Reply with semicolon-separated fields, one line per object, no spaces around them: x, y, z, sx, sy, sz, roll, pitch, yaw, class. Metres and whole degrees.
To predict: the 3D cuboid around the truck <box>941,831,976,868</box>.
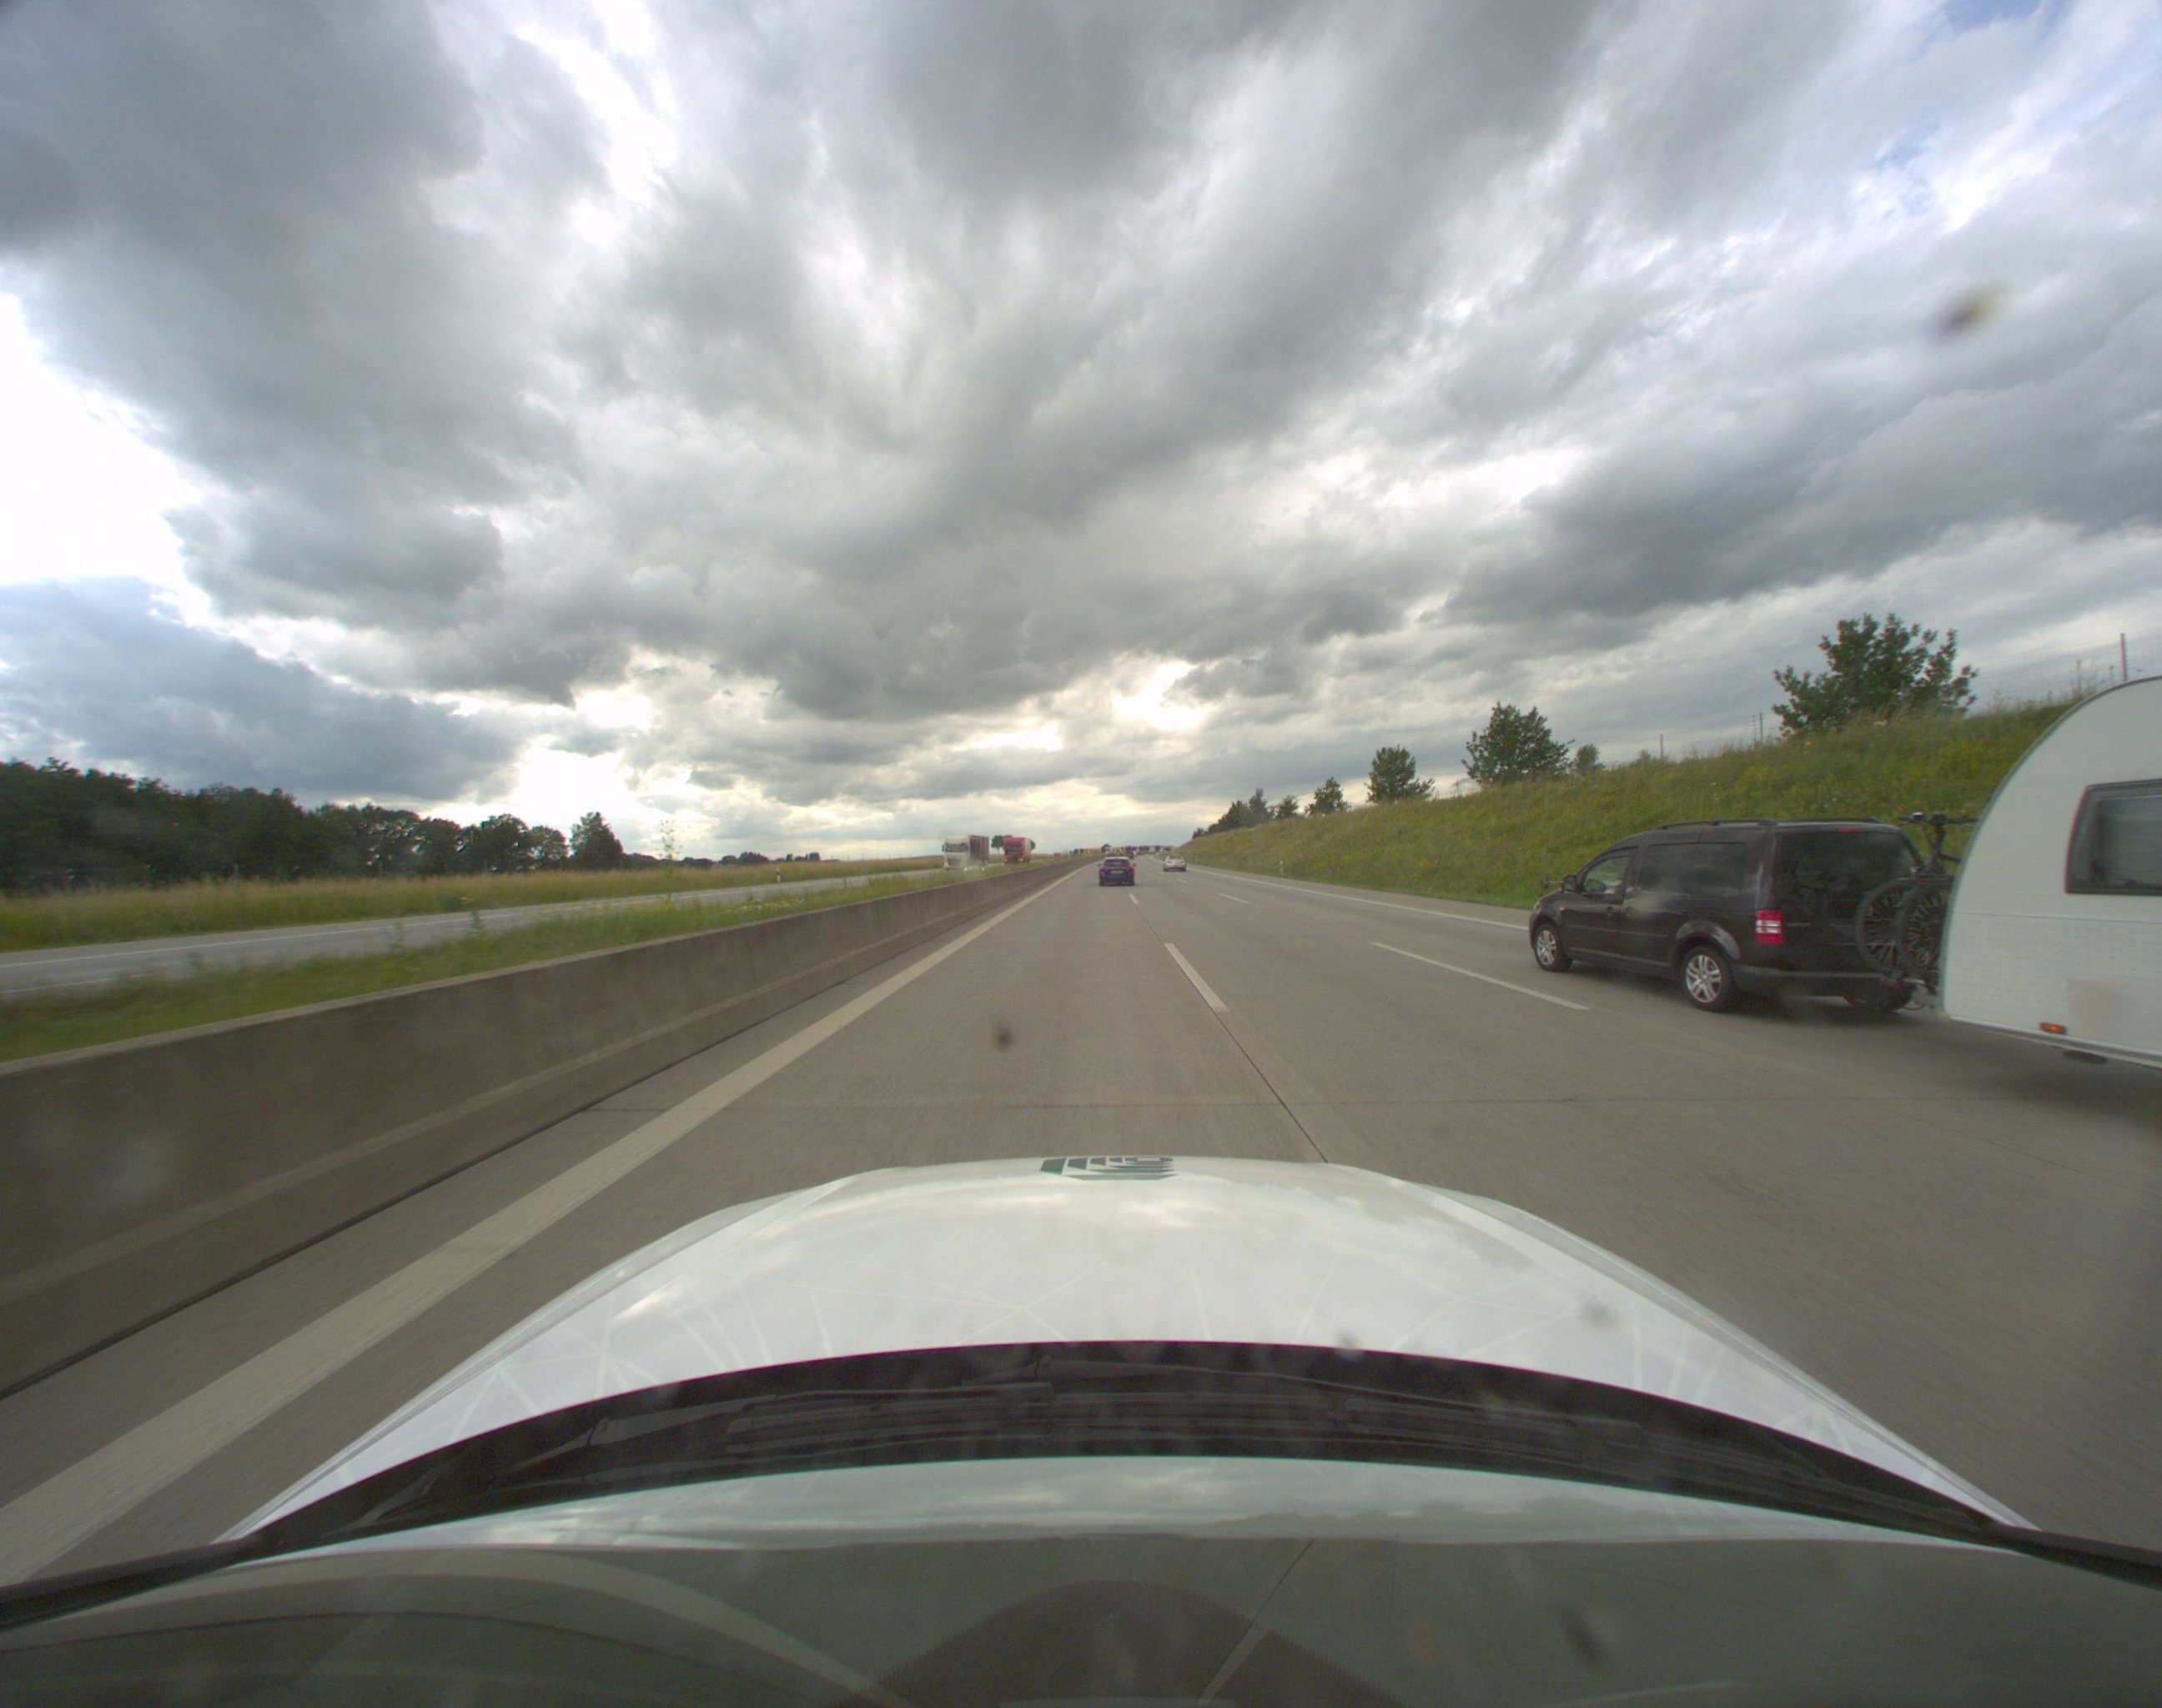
-13.904;-0.495;92.748;2.829;4.038;5.514;-1;0;2;truck

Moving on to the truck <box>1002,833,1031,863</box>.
-8.903;-0.829;113.839;2.805;4.038;10.574;-1;0;2;truck

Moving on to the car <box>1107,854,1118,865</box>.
6.246;1.101;161.651;2.039;2.014;4.001;0;-1;2;car

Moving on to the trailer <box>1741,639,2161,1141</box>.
6.748;0.162;3.361;2.600;2.534;6.721;-1;0;0;trailer

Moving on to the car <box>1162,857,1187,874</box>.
8.152;0.971;71.263;1.782;1.403;4.223;-1;0;2;car

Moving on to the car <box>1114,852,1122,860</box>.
9.724;0.424;213.300;1.986;2.014;4.001;0;-1;2;car

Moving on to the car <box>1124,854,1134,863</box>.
10.446;1.019;177.435;1.986;2.014;4.002;0;-1;2;car

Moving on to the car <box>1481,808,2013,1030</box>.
6.750;0.549;9.254;1.932;1.809;5.031;-1;0;0;car

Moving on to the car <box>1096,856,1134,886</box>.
1.774;0.828;41.568;1.766;1.413;4.005;-1;0;5;car

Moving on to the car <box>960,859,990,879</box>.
-7.811;1.080;60.141;1.561;1.352;3.475;-1;0;2;car

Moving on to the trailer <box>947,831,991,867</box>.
-13.588;-0.578;99.940;2.828;4.038;13.915;-1;0;2;trailer
